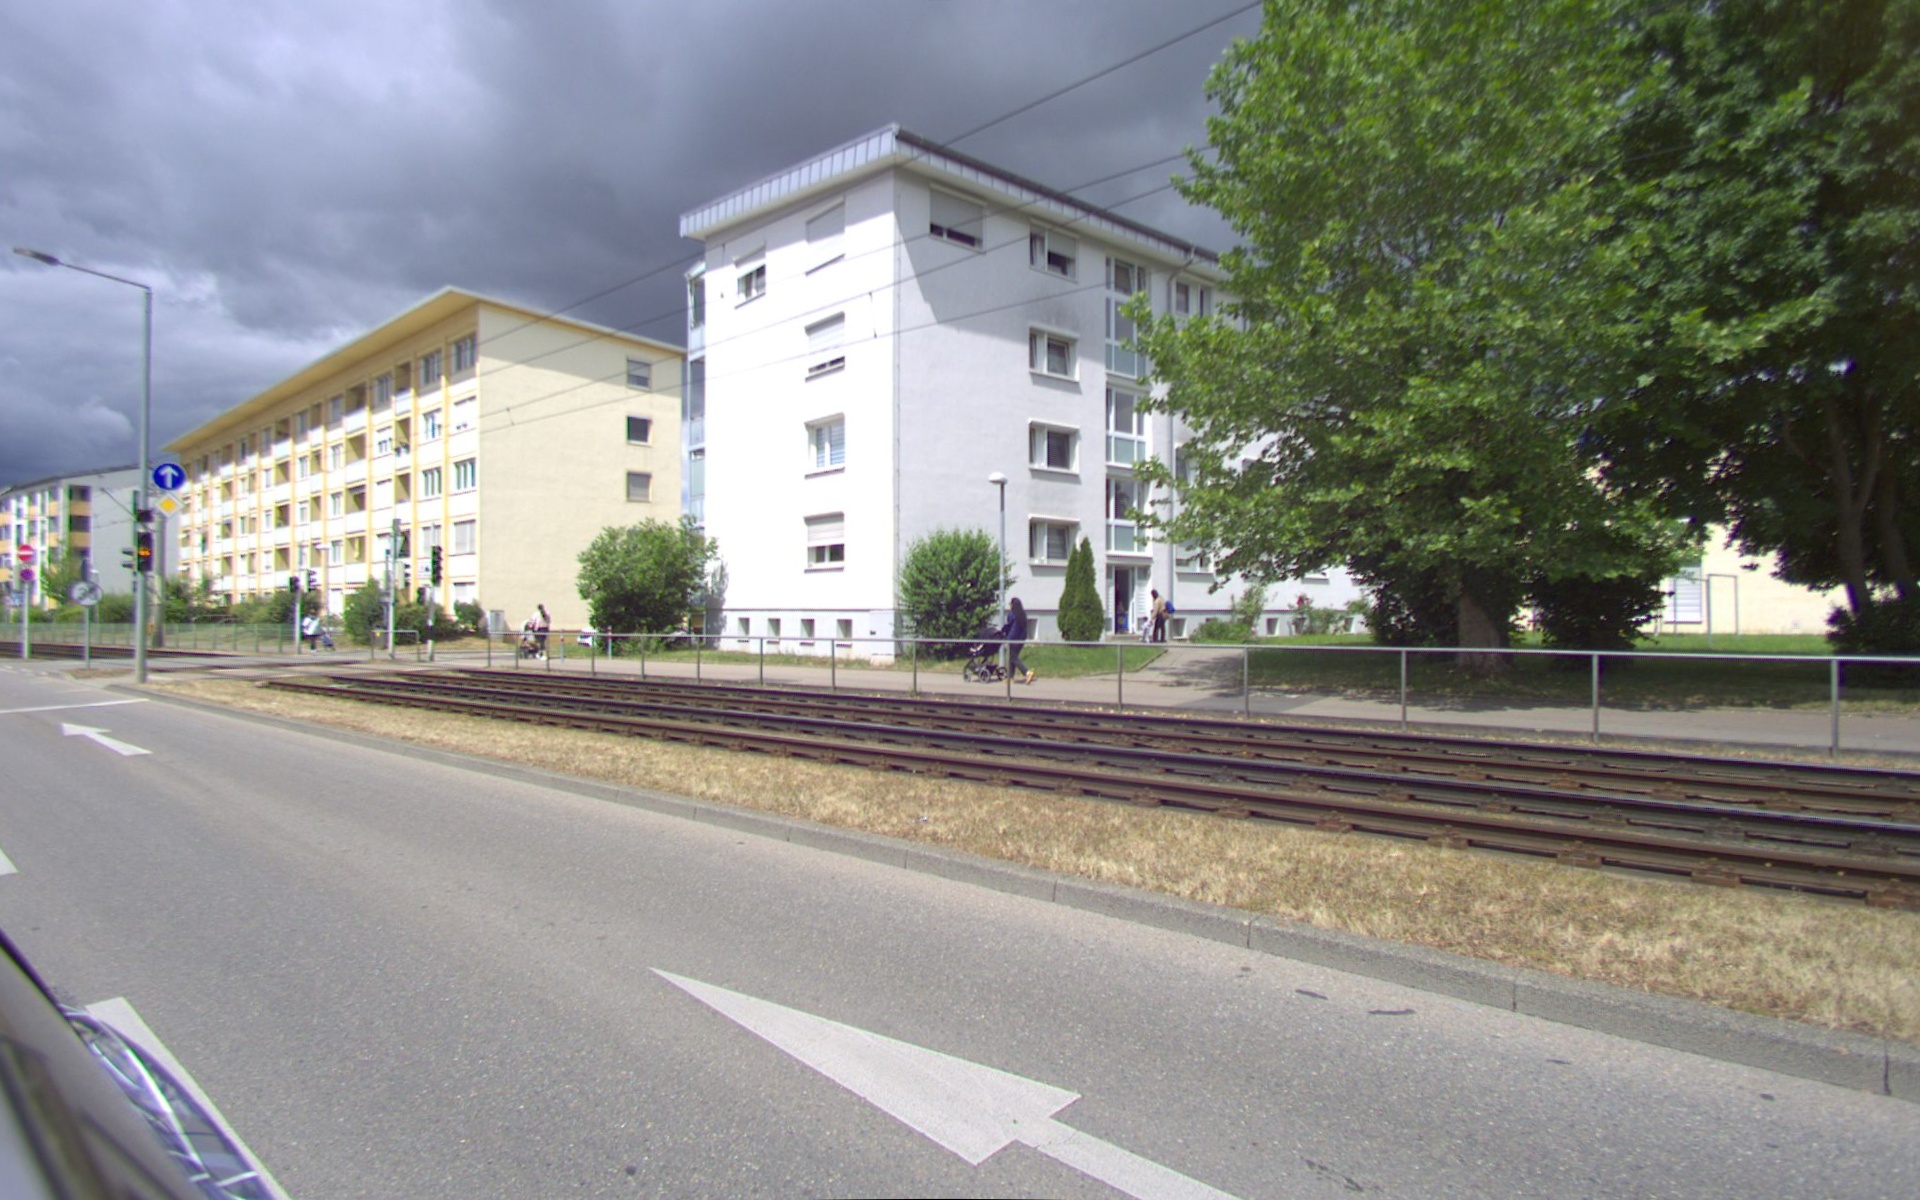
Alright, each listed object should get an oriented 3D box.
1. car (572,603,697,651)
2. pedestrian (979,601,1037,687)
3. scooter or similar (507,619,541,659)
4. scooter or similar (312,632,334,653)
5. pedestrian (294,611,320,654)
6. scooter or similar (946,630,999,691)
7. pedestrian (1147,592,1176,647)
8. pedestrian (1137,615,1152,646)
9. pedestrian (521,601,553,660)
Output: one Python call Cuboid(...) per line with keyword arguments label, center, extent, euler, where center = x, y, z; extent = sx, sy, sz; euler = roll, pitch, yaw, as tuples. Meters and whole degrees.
Cuboid(label="car", center=(-12.463, 0.992, 38.870), extent=(4.227, 1.742, 1.811), euler=(0, -1, -44))
Cuboid(label="pedestrian", center=(0.893, 0.801, 18.841), extent=(0.873, 1.552, 0.607), euler=(-1, 0, 39))
Cuboid(label="scooter or similar", center=(-13.055, 1.169, 30.322), extent=(0.891, 1.172, 0.602), euler=(-1, -1, 41))
Cuboid(label="scooter or similar", center=(-24.731, 1.641, 39.265), extent=(0.665, 0.779, 0.527), euler=(-1, 0, 39))
Cuboid(label="pedestrian", center=(-25.166, 1.237, 39.021), extent=(0.773, 1.619, 0.598), euler=(-1, 0, 39))
Cuboid(label="scooter or similar", center=(0.242, 1.144, 19.382), extent=(0.820, 1.123, 0.598), euler=(-1, 0, 39))
Cuboid(label="pedestrian", center=(5.994, 0.568, 30.089), extent=(0.675, 1.553, 0.515), euler=(-2, 5, -44))
Cuboid(label="pedestrian", center=(5.462, 0.891, 29.900), extent=(0.325, 0.889, 0.256), euler=(-2, 6, -39))
Cuboid(label="pedestrian", center=(-12.461, 0.875, 29.802), extent=(0.679, 1.705, 0.638), euler=(-1, 0, 40))
